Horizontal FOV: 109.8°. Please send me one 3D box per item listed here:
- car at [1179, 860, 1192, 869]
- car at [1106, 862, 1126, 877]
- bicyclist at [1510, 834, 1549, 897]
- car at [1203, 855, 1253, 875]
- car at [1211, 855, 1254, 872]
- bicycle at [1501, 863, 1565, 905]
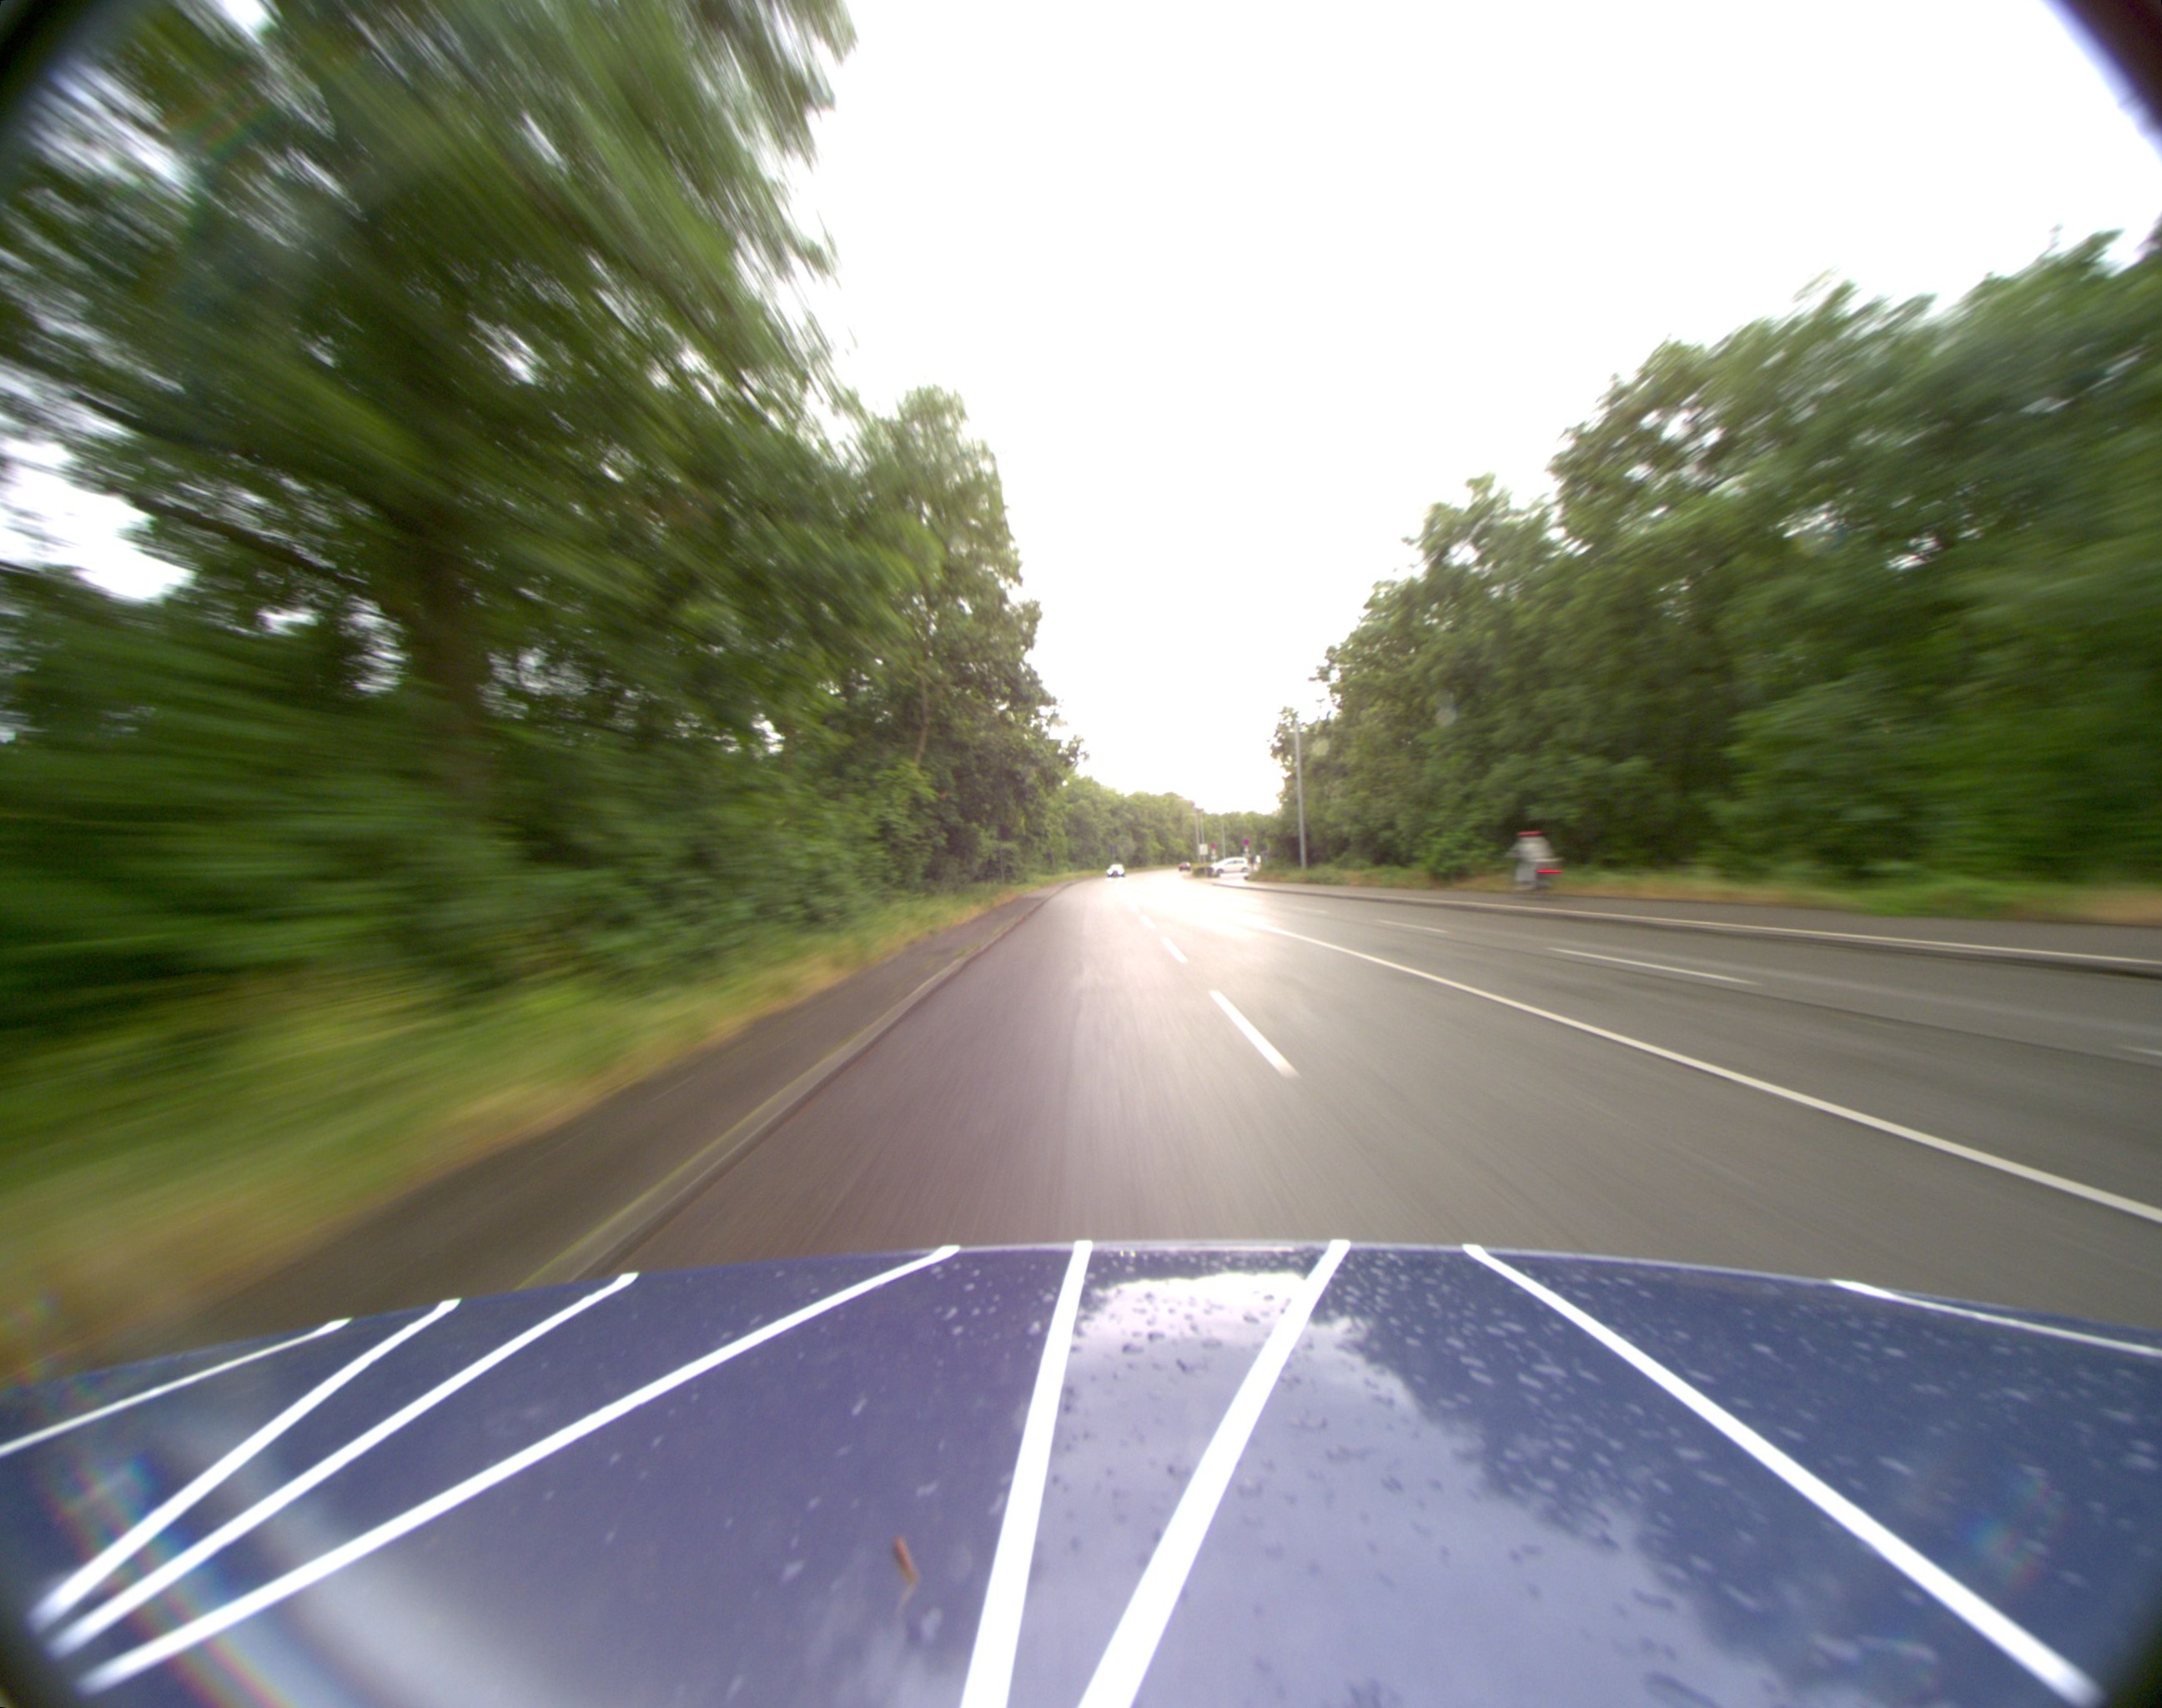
[{"bbox_3d":[17.753,1.774,128.448,1.855,1.464,3.917,-1,0,12],"label":"car"},{"bbox_3d":[3.944,1.683,84.946,1.998,1.577,4.001,-1,0,5],"label":"car"},{"bbox_3d":[11.632,0.296,19.716,0.580,1.577,0.700,-1,1,3],"label":"bicyclist"},{"bbox_3d":[14.613,1.078,75.711,4.751,1.707,1.895,-3,0,6],"label":"car"},{"bbox_3d":[16.159,1.031,81.223,4.378,1.592,1.757,-3,0,8],"label":"car"},{"bbox_3d":[11.695,0.743,19.725,0.453,0.998,2.018,-4,-1,2],"label":"bicycle"}]
